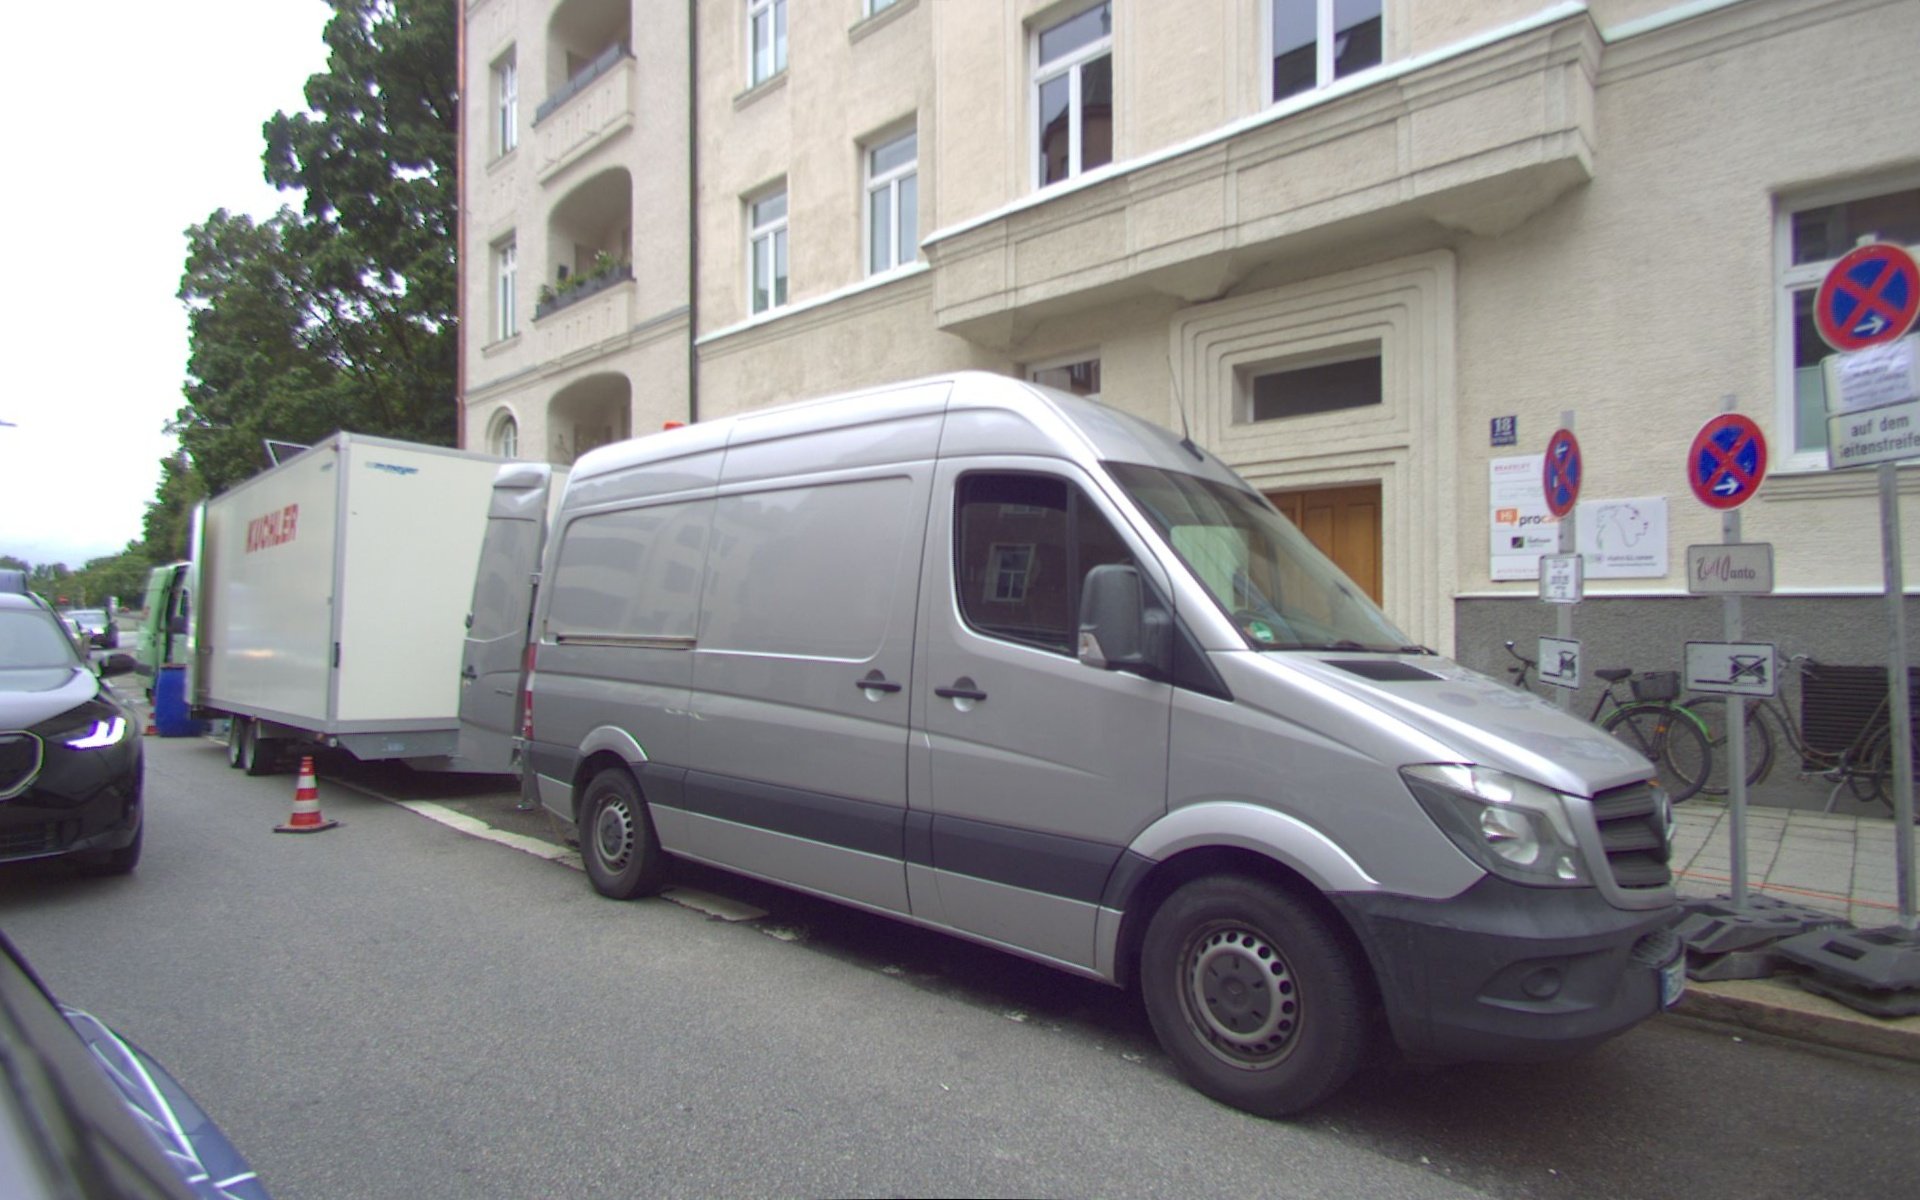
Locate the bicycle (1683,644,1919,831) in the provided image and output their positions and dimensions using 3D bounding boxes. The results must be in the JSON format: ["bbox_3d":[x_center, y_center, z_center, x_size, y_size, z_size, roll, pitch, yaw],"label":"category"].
[{"bbox_3d":[5.824,0.870,6.618,1.736,1.112,0.423,-1,-1,43],"label":"bicycle"}]

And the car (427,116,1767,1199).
[{"bbox_3d":[-0.278,0.348,5.267,6.875,2.607,2.034,-1,-6,42],"label":"car"}]

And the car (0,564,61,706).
[{"bbox_3d":[-19.368,0.612,19.858,1.974,2.510,6.247,1,0,-36],"label":"car"}]

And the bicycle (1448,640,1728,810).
[{"bbox_3d":[4.685,0.882,7.649,1.743,1.112,0.423,-1,-1,43],"label":"bicycle"}]

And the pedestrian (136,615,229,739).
[{"bbox_3d":[-10.320,0.994,13.449,0.633,1.592,0.757,0,-2,25],"label":"pedestrian"}]

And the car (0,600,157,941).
[{"bbox_3d":[-6.153,0.789,6.036,1.893,1.577,4.300,2,-1,-41],"label":"car"}]

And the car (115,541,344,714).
[{"bbox_3d":[-13.367,0.485,18.275,6.795,2.592,2.117,-1,-2,43],"label":"car"}]

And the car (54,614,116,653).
[{"bbox_3d":[-37.241,1.400,43.042,1.791,1.474,4.169,7,-5,-41],"label":"car"}]

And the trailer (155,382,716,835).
[{"bbox_3d":[-5.804,0.236,10.341,7.602,2.992,2.772,-2,-5,45],"label":"trailer"}]

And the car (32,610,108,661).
[{"bbox_3d":[-31.186,1.215,35.475,1.791,1.601,4.169,7,-5,-41],"label":"car"}]
